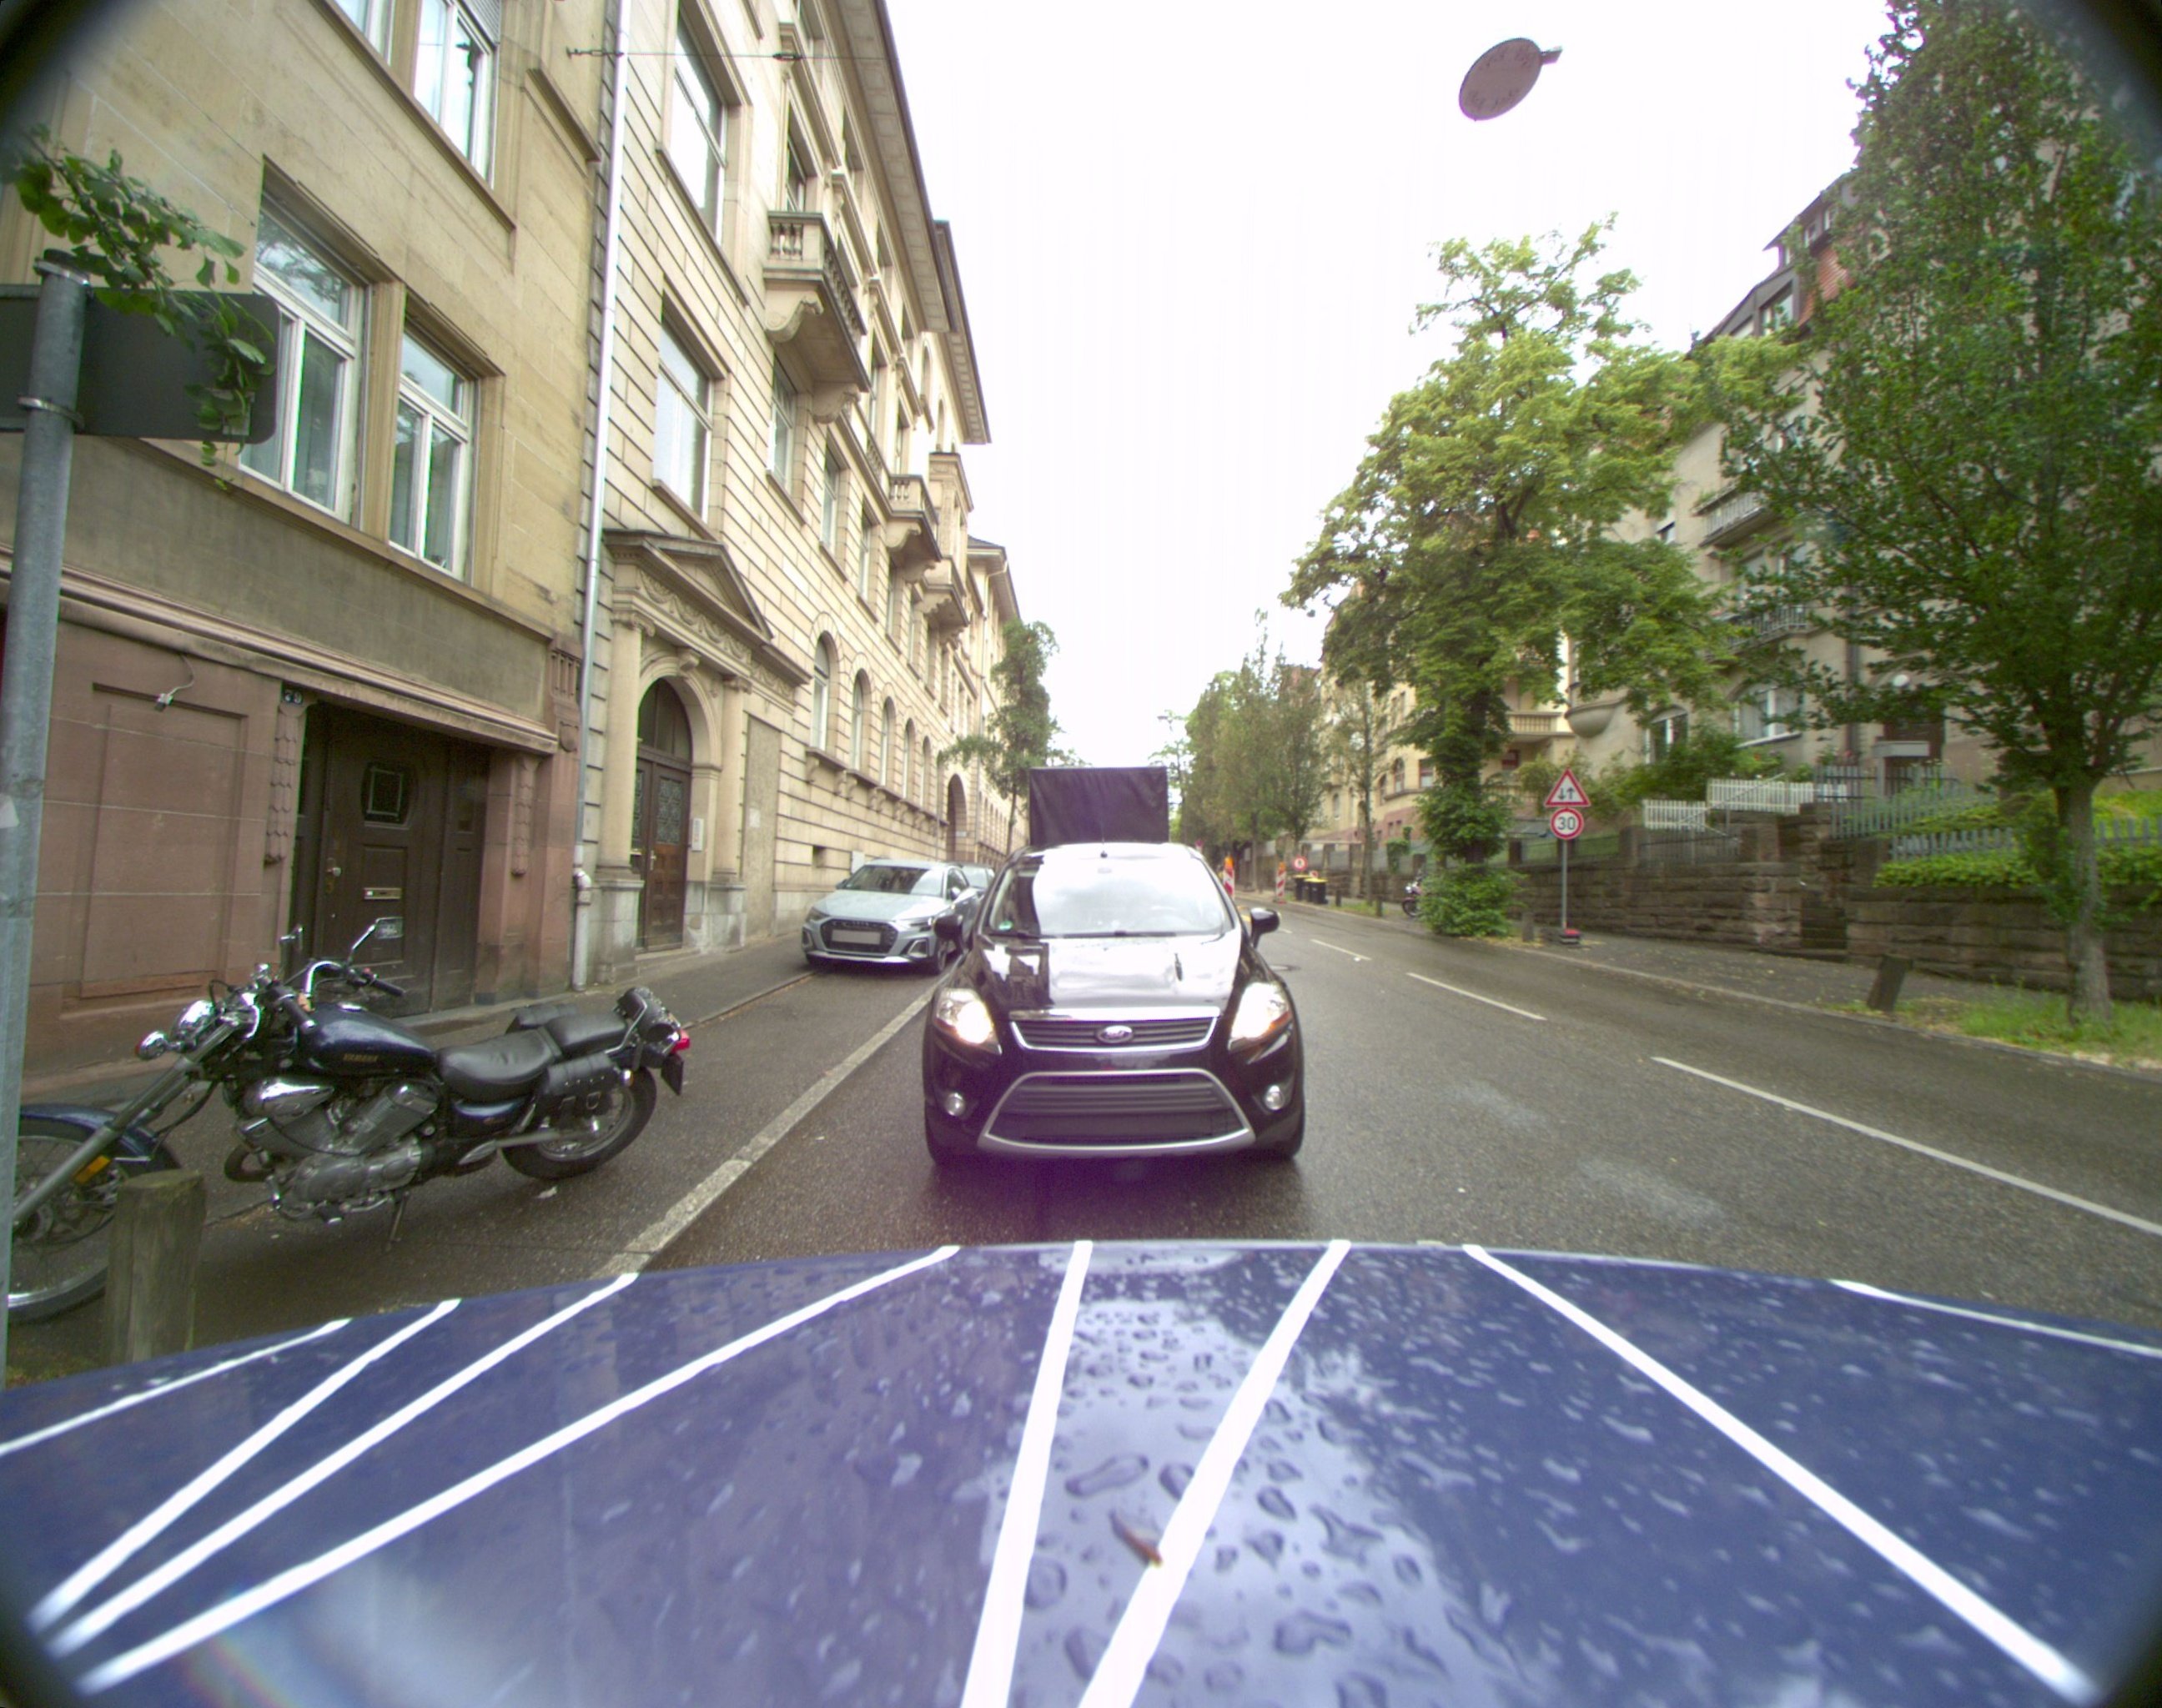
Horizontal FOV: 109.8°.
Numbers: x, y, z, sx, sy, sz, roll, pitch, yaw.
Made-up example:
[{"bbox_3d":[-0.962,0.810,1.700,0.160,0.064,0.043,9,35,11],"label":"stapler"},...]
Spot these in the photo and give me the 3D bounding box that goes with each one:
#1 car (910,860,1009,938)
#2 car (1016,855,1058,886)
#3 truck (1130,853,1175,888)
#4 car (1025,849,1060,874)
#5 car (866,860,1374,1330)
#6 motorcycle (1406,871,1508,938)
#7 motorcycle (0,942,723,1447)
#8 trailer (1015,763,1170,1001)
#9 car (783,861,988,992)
[{"bbox_3d":[-2.529,0.889,16.486,1.495,1.440,3.181,3,0,1],"label":"car"},{"bbox_3d":[-2.384,0.886,42.468,1.910,1.502,4.318,3,0,1],"label":"car"},{"bbox_3d":[4.032,0.924,43.723,2.075,1.825,5.154,2,0,1],"label":"truck"},{"bbox_3d":[-2.509,0.471,50.527,1.910,1.502,4.318,3,0,1],"label":"car"},{"bbox_3d":[0.196,0.887,5.000,1.823,1.662,4.522,0,0,1],"label":"car"},{"bbox_3d":[8.903,1.139,18.204,0.802,1.406,3.061,-2,0,-2],"label":"motorcycle"},{"bbox_3d":[-2.608,1.007,2.776,0.523,1.236,2.282,3,-1,39],"label":"motorcycle"},{"bbox_3d":[0.132,0.307,11.204,1.783,2.744,4.816,0,1,0],"label":"trailer"},{"bbox_3d":[-2.594,0.889,11.141,1.794,1.444,4.039,3,0,1],"label":"car"}]
